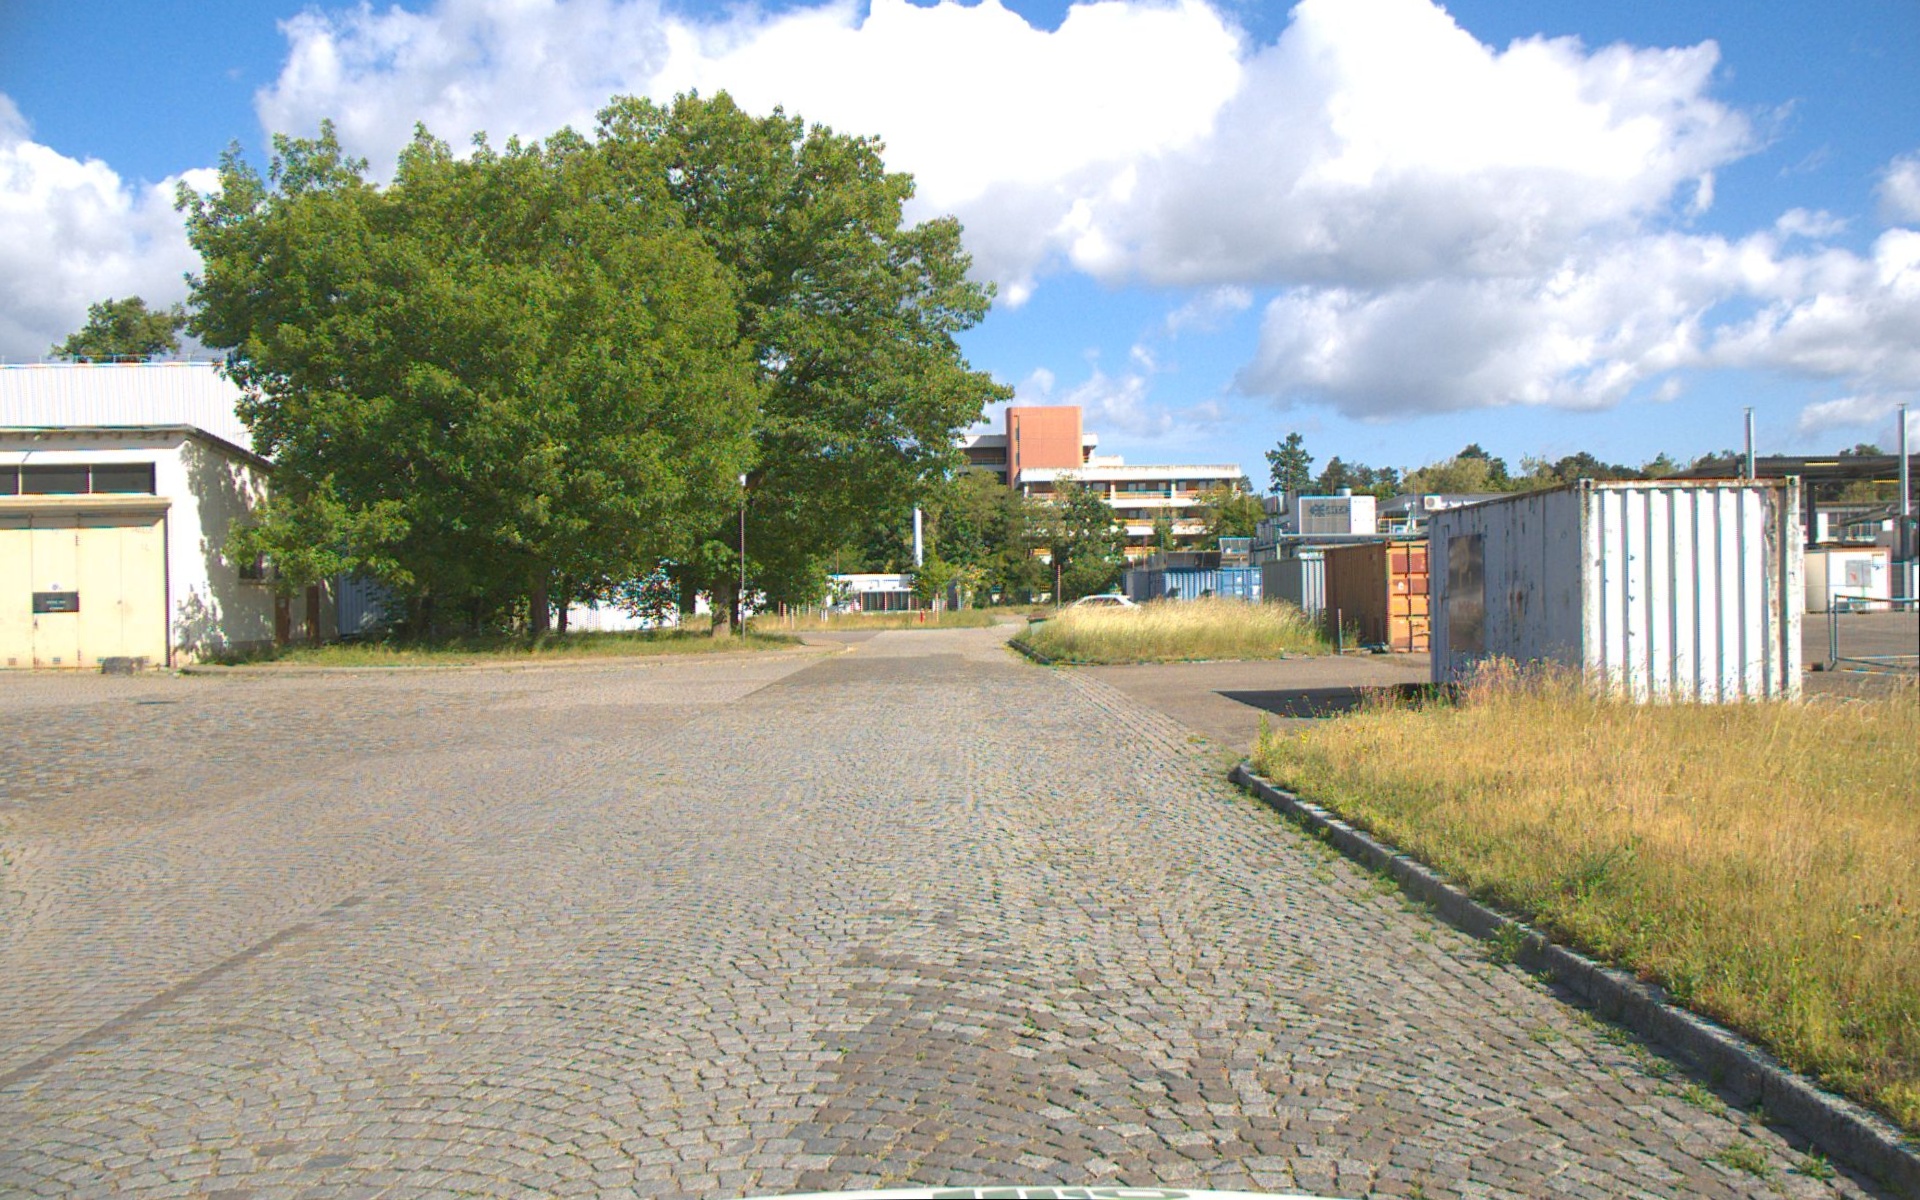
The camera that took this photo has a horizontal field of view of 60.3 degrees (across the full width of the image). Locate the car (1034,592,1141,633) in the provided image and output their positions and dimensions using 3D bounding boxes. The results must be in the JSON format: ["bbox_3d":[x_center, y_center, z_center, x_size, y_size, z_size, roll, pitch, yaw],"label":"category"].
[{"bbox_3d":[5.534,0.531,72.000,4.414,1.676,1.999,-1,0,-3],"label":"car"}]
